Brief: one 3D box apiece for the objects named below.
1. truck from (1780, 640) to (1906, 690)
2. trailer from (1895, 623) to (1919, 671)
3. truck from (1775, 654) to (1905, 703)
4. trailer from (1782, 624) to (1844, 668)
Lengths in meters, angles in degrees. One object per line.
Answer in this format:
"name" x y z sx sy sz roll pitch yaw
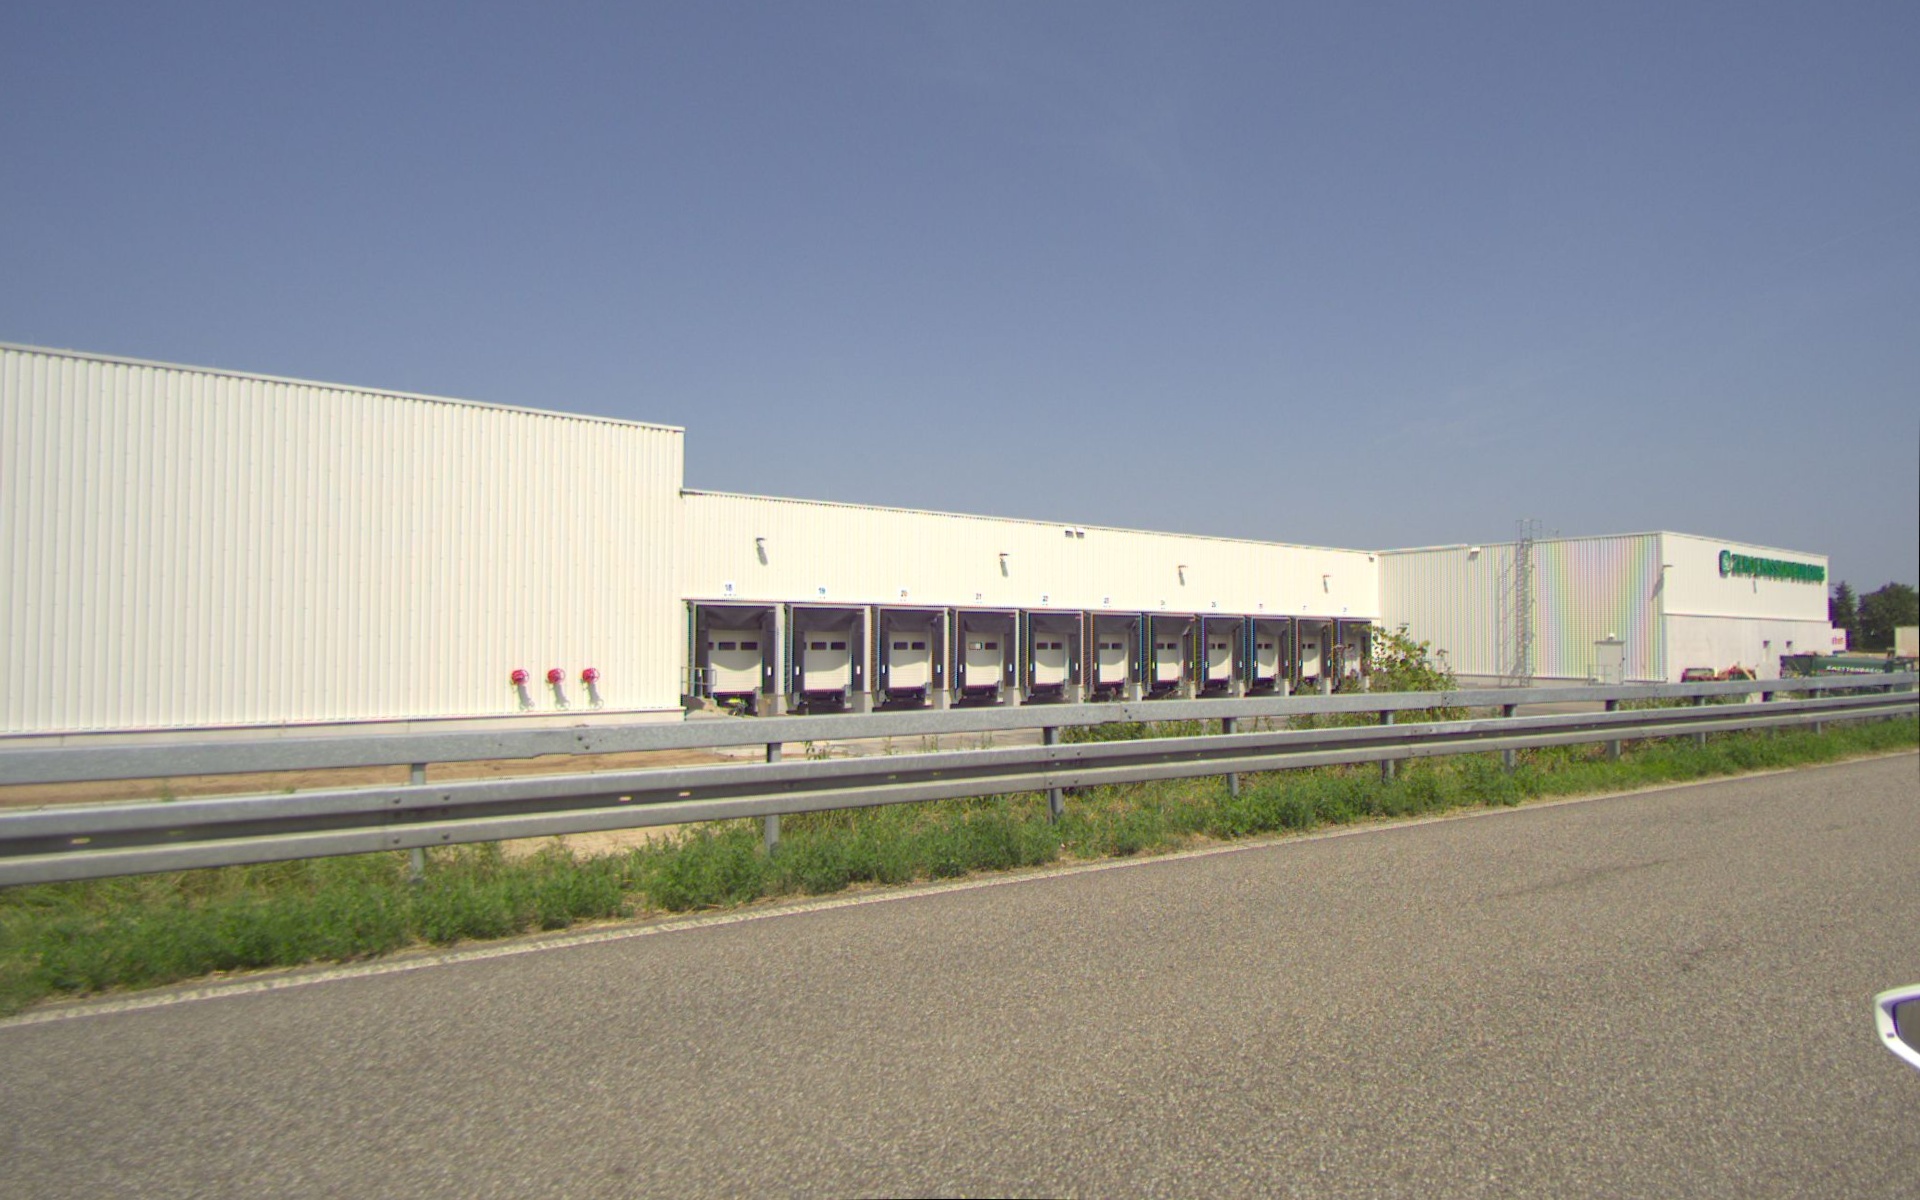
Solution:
"truck" 50.489 3.681 57.540 2.250 2.571 5.013 2 -1 -34
"trailer" 90.569 4.333 94.143 7.871 4.390 2.662 1 -1 -35
"truck" 48.118 4.225 55.044 2.206 2.364 4.986 1 -1 -29
"trailer" 86.190 4.554 101.501 7.814 4.203 2.728 1 -1 -33
